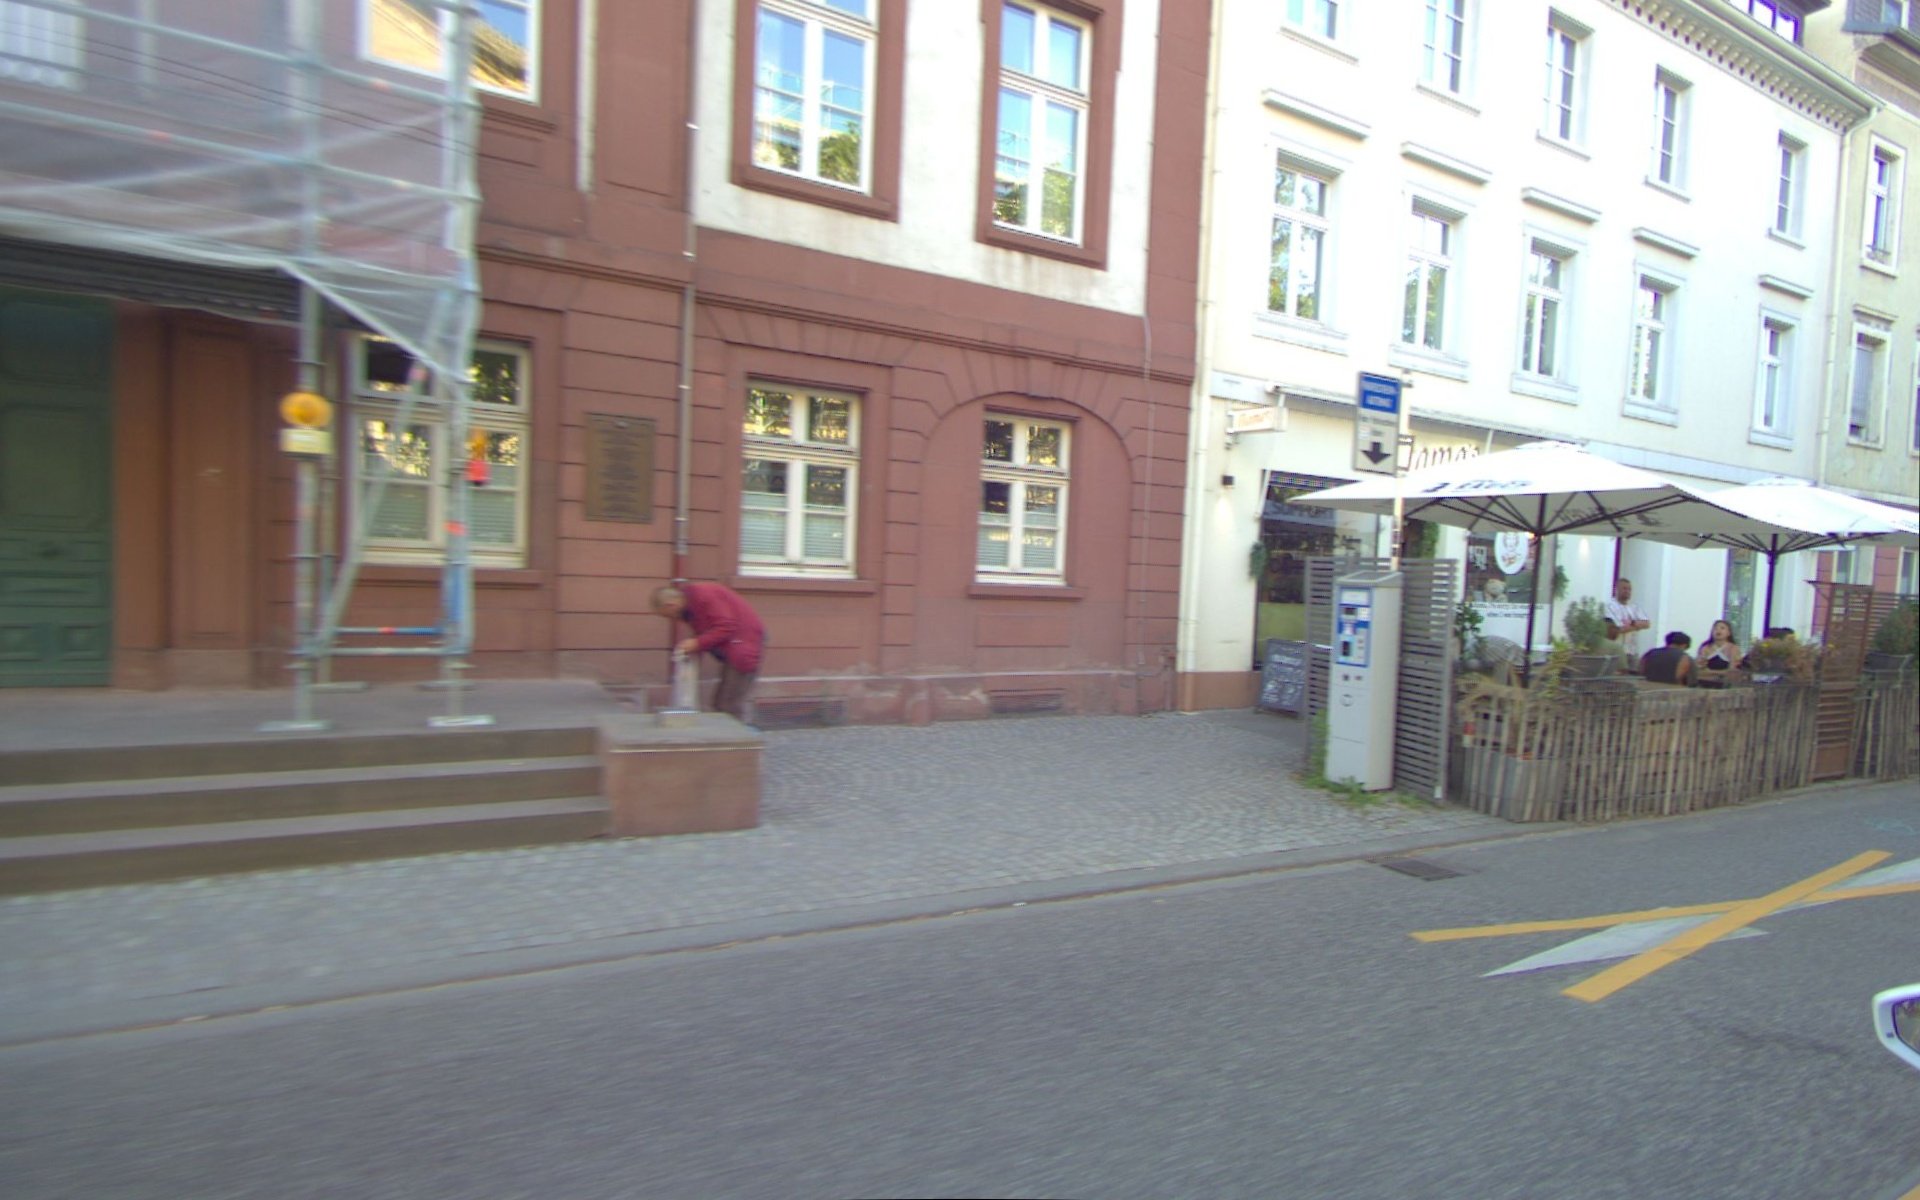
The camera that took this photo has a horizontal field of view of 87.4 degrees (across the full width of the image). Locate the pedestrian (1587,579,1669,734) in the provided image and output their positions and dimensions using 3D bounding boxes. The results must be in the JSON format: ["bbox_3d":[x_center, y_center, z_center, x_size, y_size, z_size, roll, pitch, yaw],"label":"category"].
[{"bbox_3d":[7.907,0.663,11.905,0.587,1.799,0.437,2,2,-15],"label":"pedestrian"}]

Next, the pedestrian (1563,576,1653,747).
[{"bbox_3d":[7.086,0.655,10.994,0.432,1.799,0.595,2,2,-19],"label":"pedestrian"}]

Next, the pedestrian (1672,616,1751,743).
[{"bbox_3d":[8.739,0.904,11.692,0.483,1.410,0.520,1,2,-31],"label":"pedestrian"}]

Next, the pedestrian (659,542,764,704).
[{"bbox_3d":[-1.745,0.149,7.038,0.545,1.067,0.533,1,3,-32],"label":"pedestrian"}]

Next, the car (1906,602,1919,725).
[{"bbox_3d":[15.868,0.983,14.301,4.722,1.702,1.915,2,1,-26],"label":"car"}]

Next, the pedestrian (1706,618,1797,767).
[{"bbox_3d":[8.134,0.935,10.329,0.495,1.452,0.469,2,3,-23],"label":"pedestrian"}]

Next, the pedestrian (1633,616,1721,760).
[{"bbox_3d":[7.408,0.890,10.387,0.483,1.410,0.520,1,2,-31],"label":"pedestrian"}]

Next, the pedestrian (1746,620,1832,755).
[{"bbox_3d":[9.135,0.947,11.074,0.483,1.410,0.520,1,2,-31],"label":"pedestrian"}]

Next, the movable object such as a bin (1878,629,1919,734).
[{"bbox_3d":[12.779,1.081,12.843,0.917,1.313,1.213,2,2,-23],"label":"movable object such as a bin"}]
